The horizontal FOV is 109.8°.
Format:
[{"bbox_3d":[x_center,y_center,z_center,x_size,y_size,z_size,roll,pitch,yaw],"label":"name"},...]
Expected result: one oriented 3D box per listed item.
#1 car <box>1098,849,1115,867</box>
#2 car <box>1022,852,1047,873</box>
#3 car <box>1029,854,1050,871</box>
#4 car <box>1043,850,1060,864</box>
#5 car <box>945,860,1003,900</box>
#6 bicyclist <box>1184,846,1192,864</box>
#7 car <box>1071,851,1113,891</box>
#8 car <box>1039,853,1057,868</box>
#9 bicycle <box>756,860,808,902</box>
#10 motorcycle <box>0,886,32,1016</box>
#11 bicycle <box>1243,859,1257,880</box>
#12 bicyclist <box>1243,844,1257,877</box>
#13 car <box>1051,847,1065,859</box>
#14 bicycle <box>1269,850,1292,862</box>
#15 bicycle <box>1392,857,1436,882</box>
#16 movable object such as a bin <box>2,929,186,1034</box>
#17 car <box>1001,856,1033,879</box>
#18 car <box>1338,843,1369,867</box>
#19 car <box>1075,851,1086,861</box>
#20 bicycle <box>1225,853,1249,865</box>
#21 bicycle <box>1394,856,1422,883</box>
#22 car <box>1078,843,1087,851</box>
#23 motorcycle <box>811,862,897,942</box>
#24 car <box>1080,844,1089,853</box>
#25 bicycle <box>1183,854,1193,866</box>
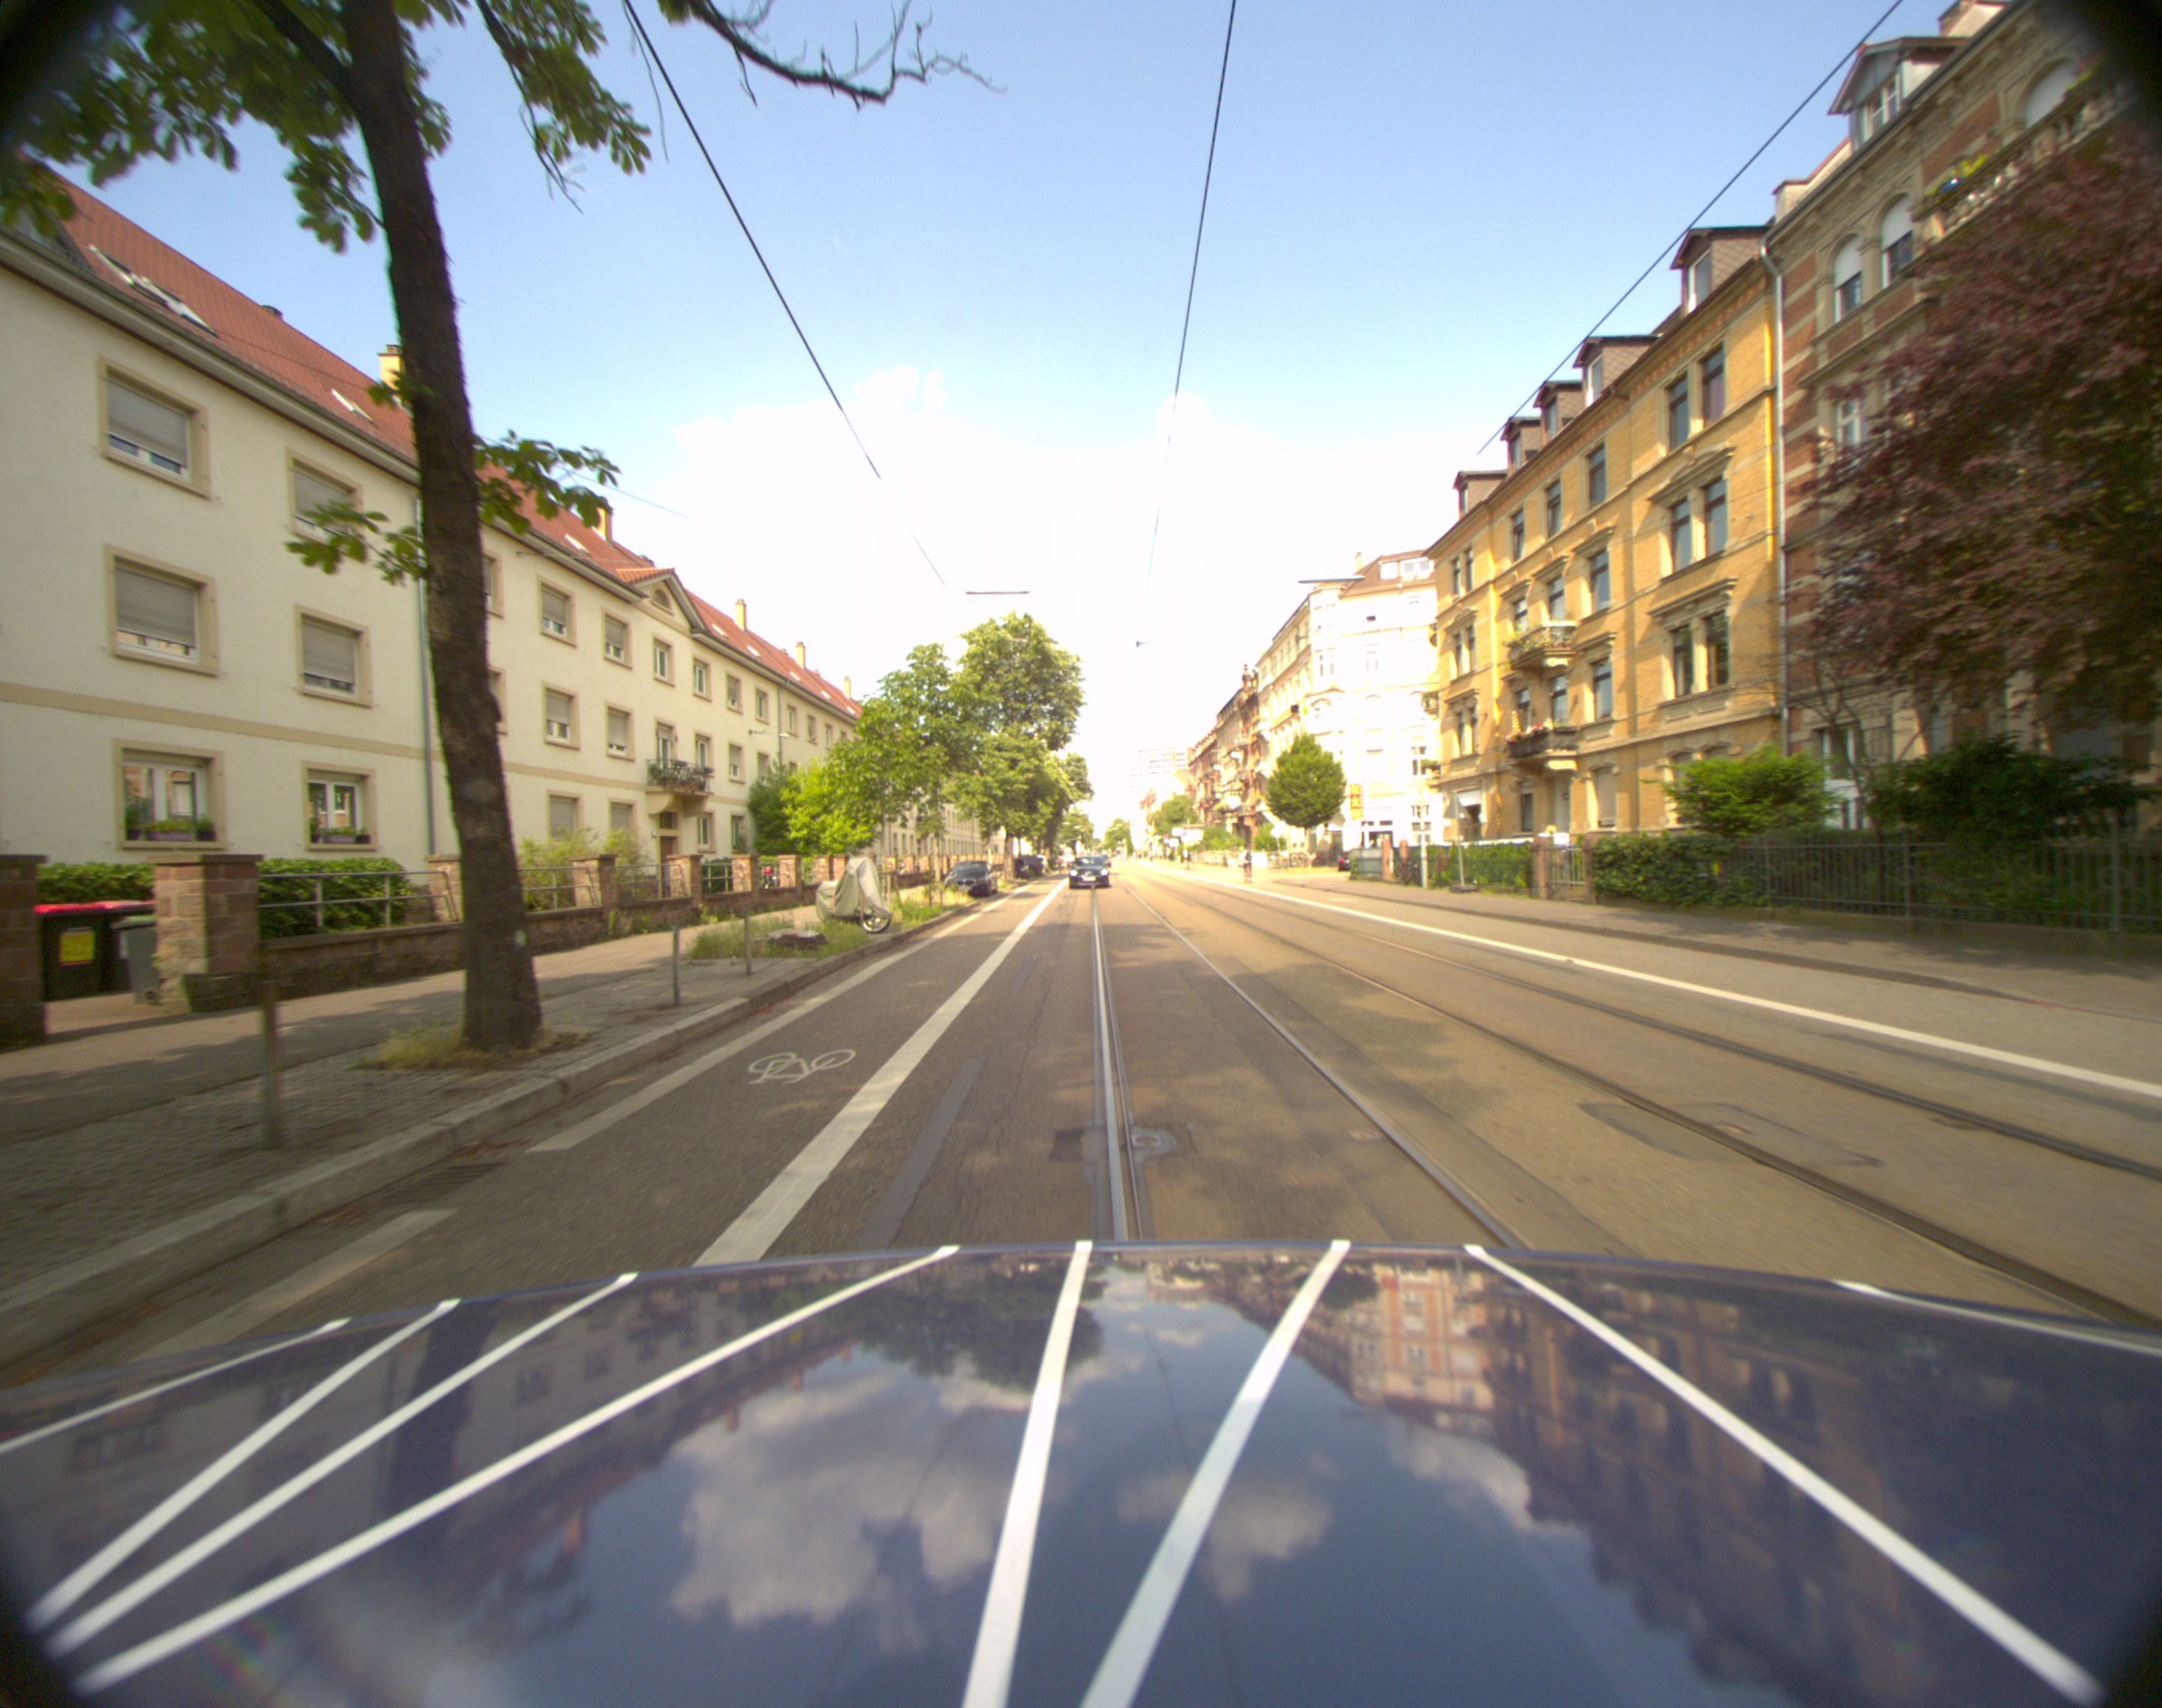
[{"bbox_3d":[2.748,0.419,81.942,1.715,1.718,3.735,-3,1,1],"label":"car"},{"bbox_3d":[-3.636,0.634,60.010,1.693,1.537,3.617,-2,1,0],"label":"car"},{"bbox_3d":[-3.870,0.774,71.617,1.693,1.537,3.775,-2,1,0],"label":"car"},{"bbox_3d":[-3.420,0.301,88.286,1.693,1.537,3.460,-2,1,0],"label":"car"},{"bbox_3d":[-4.217,0.996,30.483,1.693,1.380,3.999,-2,1,0],"label":"car"},{"bbox_3d":[8.686,0.075,61.605,0.477,1.490,0.742,0,1,-2],"label":"bicyclist"},{"bbox_3d":[0.473,0.686,33.462,1.693,1.568,4.156,-2,1,0],"label":"car"},{"bbox_3d":[-3.499,0.697,81.680,1.693,1.537,3.460,-2,1,0],"label":"car"},{"bbox_3d":[-9.491,0.830,24.235,0.691,1.230,2.233,-2,1,1],"label":"bicycle"},{"bbox_3d":[-12.229,1.104,7.231,0.752,1.406,2.598,-3,1,1],"label":"motorcycle"},{"bbox_3d":[7.825,0.702,35.171,0.607,0.936,1.756,0,1,13],"label":"bicycle"},{"bbox_3d":[7.825,0.291,35.169,0.614,1.490,0.743,0,1,13],"label":"bicyclist"},{"bbox_3d":[-3.157,-0.128,104.041,1.693,1.537,3.460,-2,1,0],"label":"car"},{"bbox_3d":[15.703,0.148,59.821,1.753,0.936,0.483,0,1,0],"label":"bicycle"},{"bbox_3d":[12.395,0.582,28.290,1.431,0.935,0.401,0,-2,3],"label":"bicycle"},{"bbox_3d":[-9.915,1.264,7.670,0.830,0.912,0.752,-2,1,0],"label":"movable object such as a bin"},{"bbox_3d":[-4.158,0.867,49.869,1.693,1.380,3.999,-2,1,0],"label":"car"},{"bbox_3d":[17.936,0.035,50.094,1.778,1.521,3.870,-1,1,19],"label":"car"},{"bbox_3d":[-0.082,0.251,113.576,1.693,1.380,3.999,-2,1,0],"label":"car"},{"bbox_3d":[12.200,0.382,59.423,1.750,0.936,0.484,1,1,25],"label":"bicycle"},{"bbox_3d":[11.409,0.552,26.525,0.400,0.935,1.473,0,-2,3],"label":"bicycle"},{"bbox_3d":[0.256,-1.298,139.756,1.693,1.380,3.999,-2,1,0],"label":"car"},{"bbox_3d":[-4.660,0.931,15.506,0.812,1.485,2.065,-2,1,-43],"label":"motorcycle"},{"bbox_3d":[0.740,-1.244,159.931,1.693,1.831,5.028,-2,1,-1],"label":"car"},{"bbox_3d":[8.681,0.499,61.704,0.483,0.936,1.754,0,1,-2],"label":"bicycle"}]
